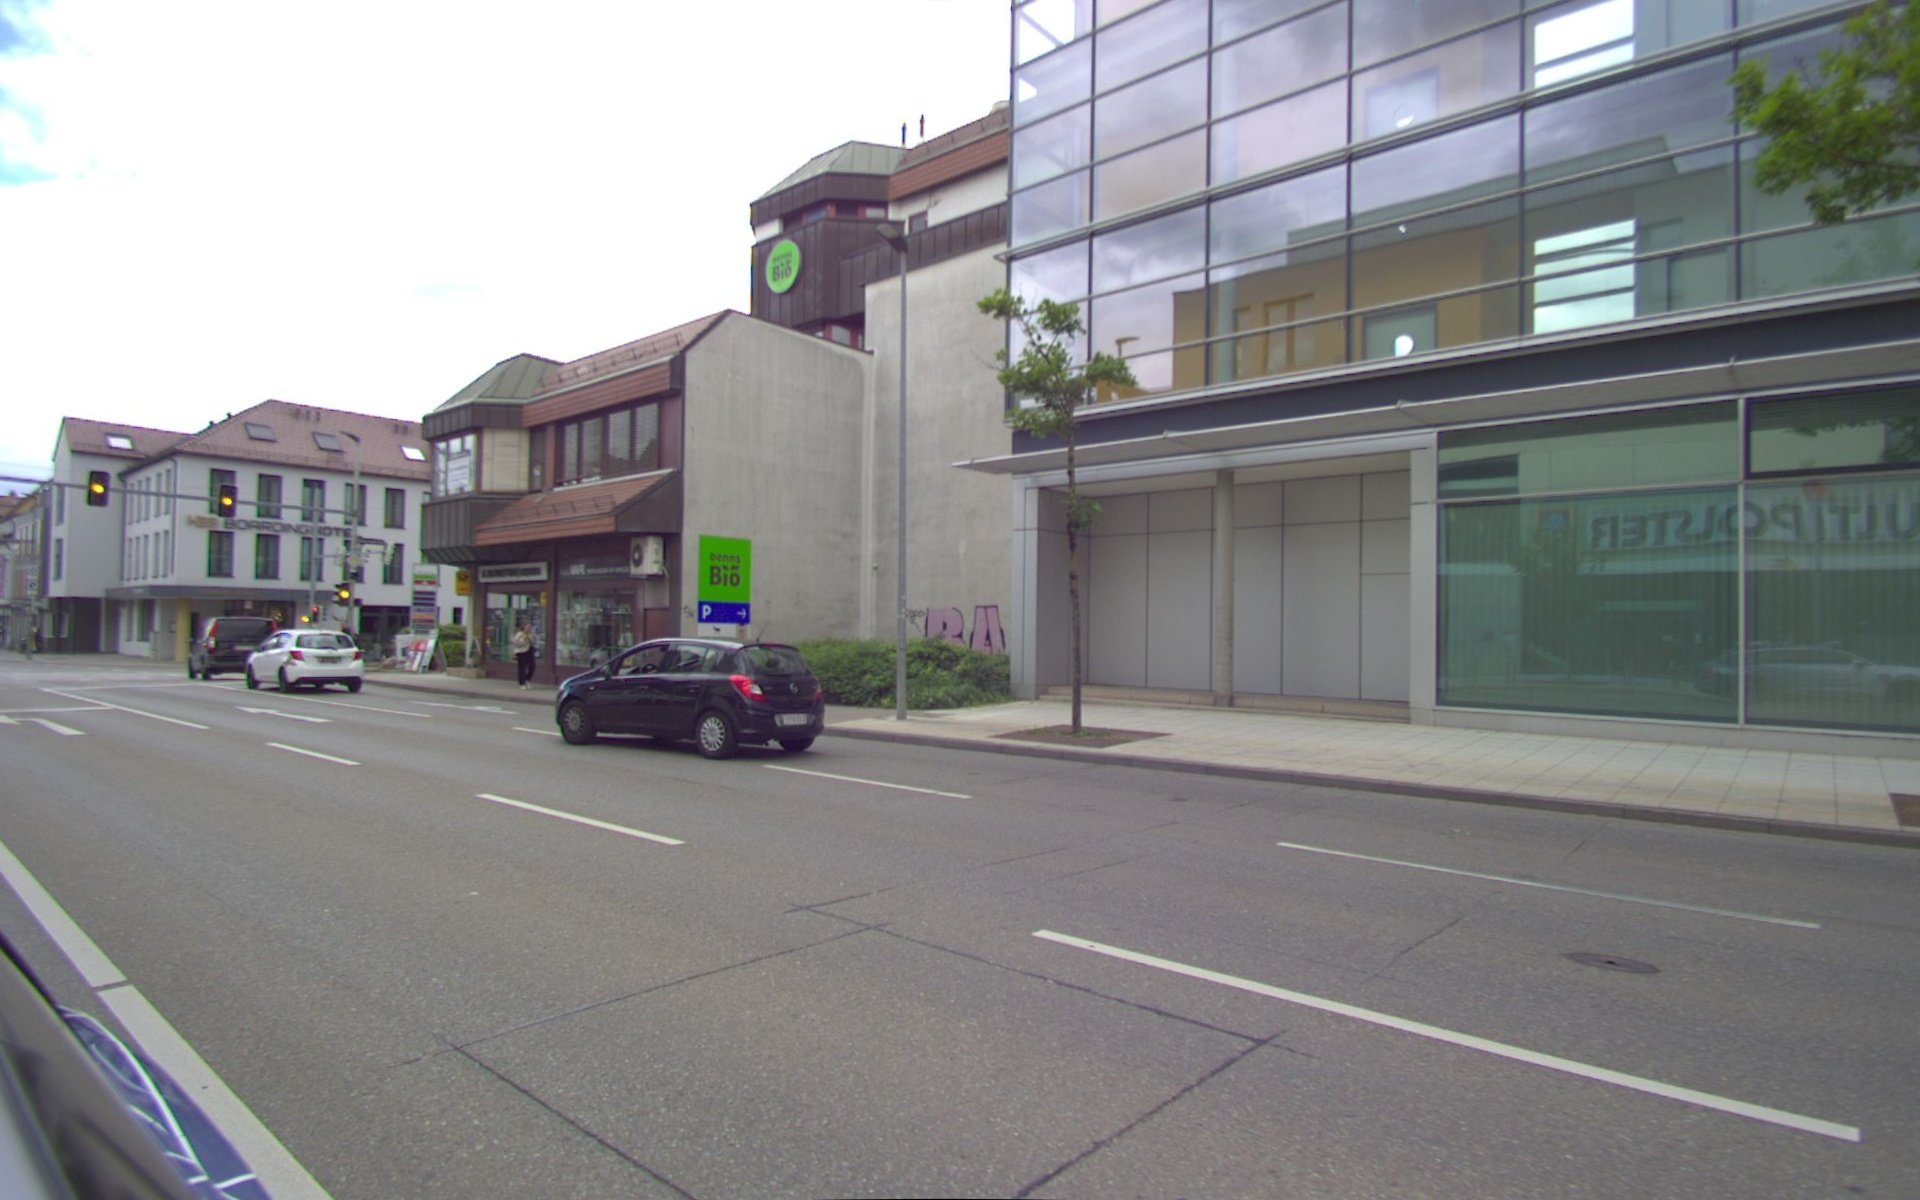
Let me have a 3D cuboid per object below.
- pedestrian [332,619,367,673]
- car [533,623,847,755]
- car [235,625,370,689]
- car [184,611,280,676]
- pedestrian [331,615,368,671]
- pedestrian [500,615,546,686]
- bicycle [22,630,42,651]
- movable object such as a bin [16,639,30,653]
[{"bbox_3d":[-20.894,1.569,34.646,0.744,1.822,0.804,-1,-2,32],"label":"pedestrian"},{"bbox_3d":[-3.579,1.065,13.253,3.985,1.491,1.648,-1,-3,31],"label":"car"},{"bbox_3d":[-16.388,1.380,25.166,3.996,1.476,1.643,-1,-3,39],"label":"car"},{"bbox_3d":[-23.316,1.378,32.327,1.843,1.924,5.119,3,-3,-42],"label":"car"},{"bbox_3d":[-20.423,1.432,33.886,0.773,1.822,0.804,-1,-2,32],"label":"pedestrian"},{"bbox_3d":[-10.733,1.224,24.875,0.776,1.706,0.742,-1,-2,36],"label":"pedestrian"},{"bbox_3d":[-56.037,2.443,61.088,2.117,1.241,0.576,-1,-2,40],"label":"bicycle"},{"bbox_3d":[-58.072,2.845,62.703,0.506,0.906,0.545,-2,-2,39],"label":"movable object such as a bin"}]
